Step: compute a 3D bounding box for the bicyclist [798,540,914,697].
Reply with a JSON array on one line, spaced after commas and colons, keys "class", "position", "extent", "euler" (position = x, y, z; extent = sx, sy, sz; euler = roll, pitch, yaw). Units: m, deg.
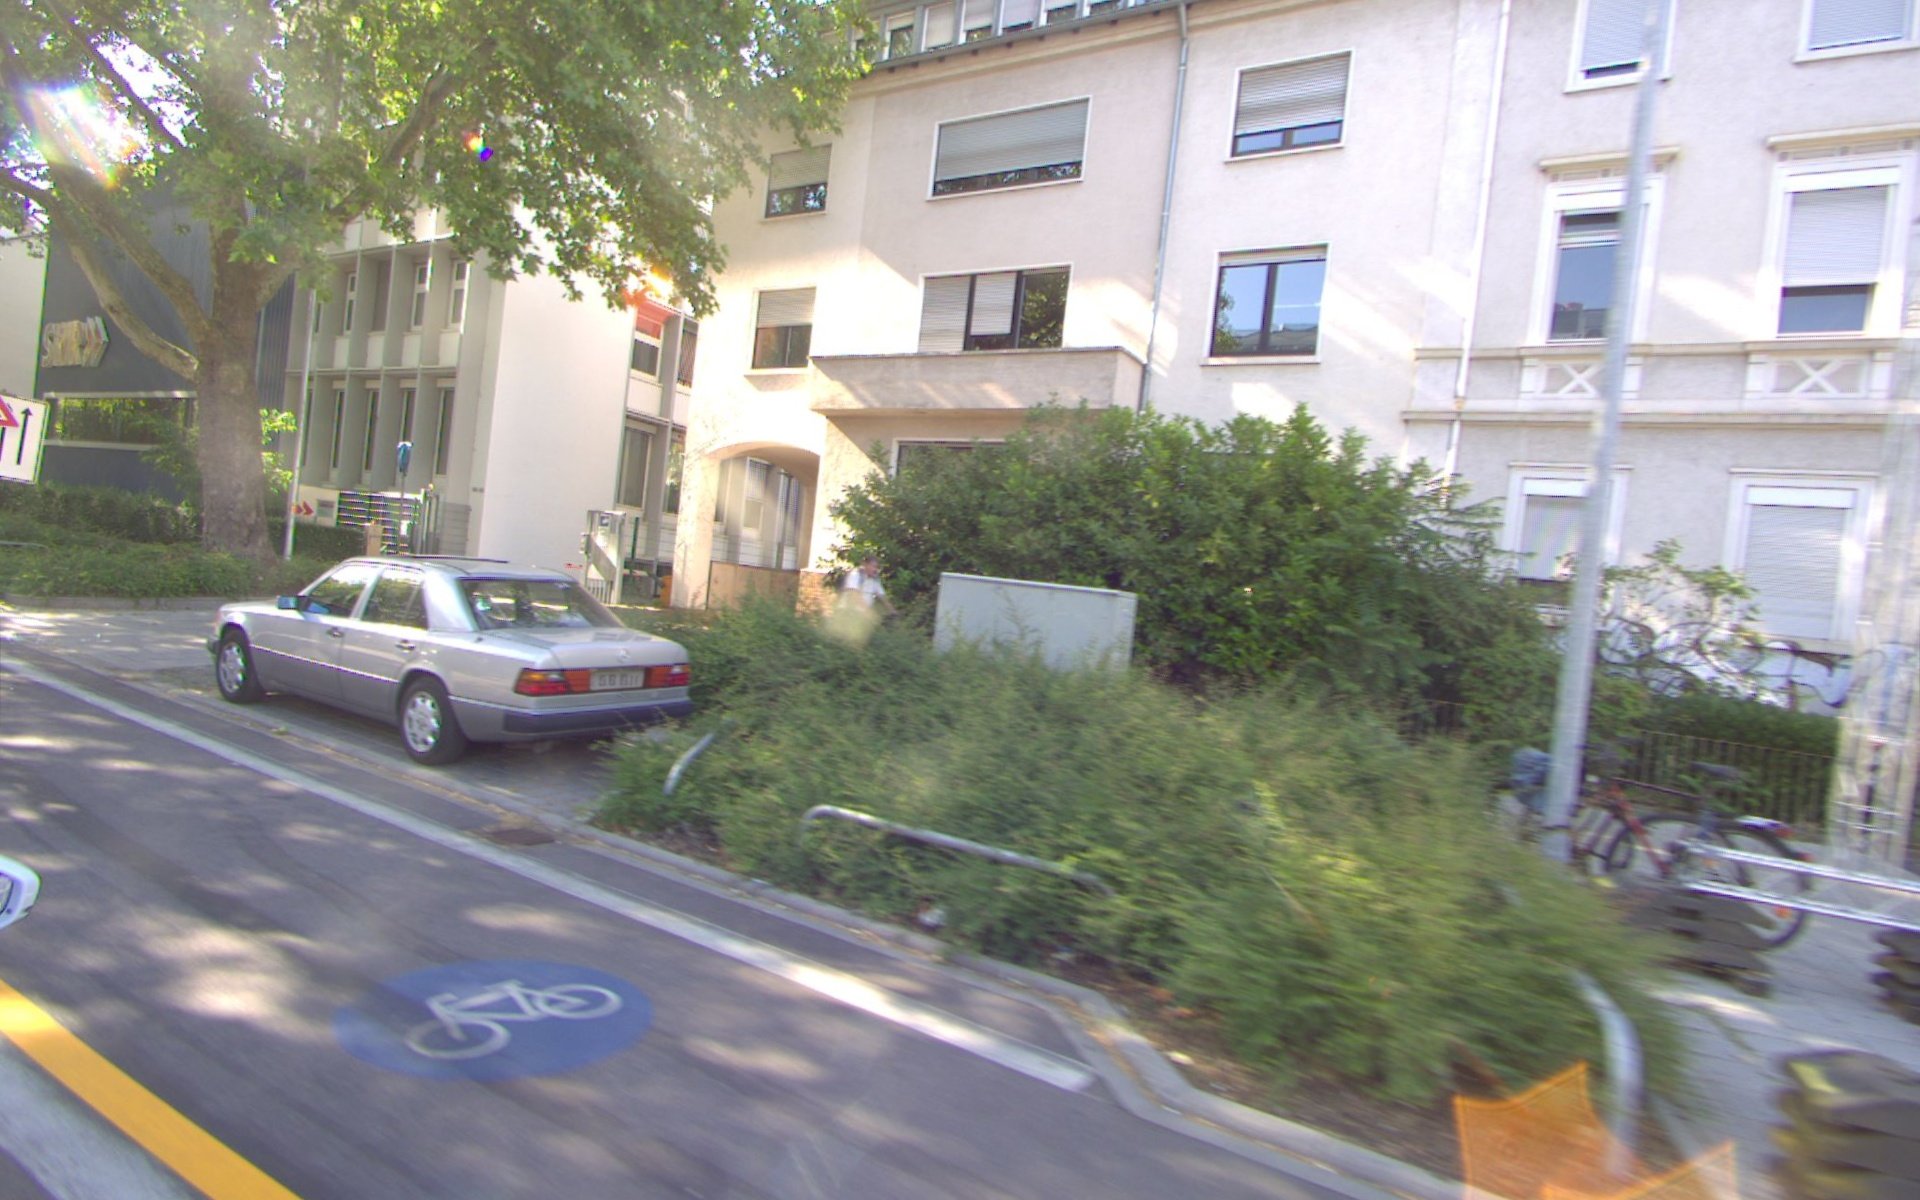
[{"class": "bicyclist", "position": [-1.325, 0.235, 12.804], "extent": [1.053, 1.843, 0.724], "euler": [7, 1, 32]}]

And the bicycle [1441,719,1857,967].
[{"class": "bicycle", "position": [4.228, 1.442, 6.434], "extent": [0.581, 1.017, 2.119], "euler": [7, 0, -24]}]

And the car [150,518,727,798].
[{"class": "car", "position": [-4.489, 0.343, 8.436], "extent": [4.858, 1.497, 1.855], "euler": [7, 0, 30]}]

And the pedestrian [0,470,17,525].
[{"class": "pedestrian", "position": [-30.150, -3.246, 31.384], "extent": [0.663, 1.668, 0.707], "euler": [10, 0, 28]}]
